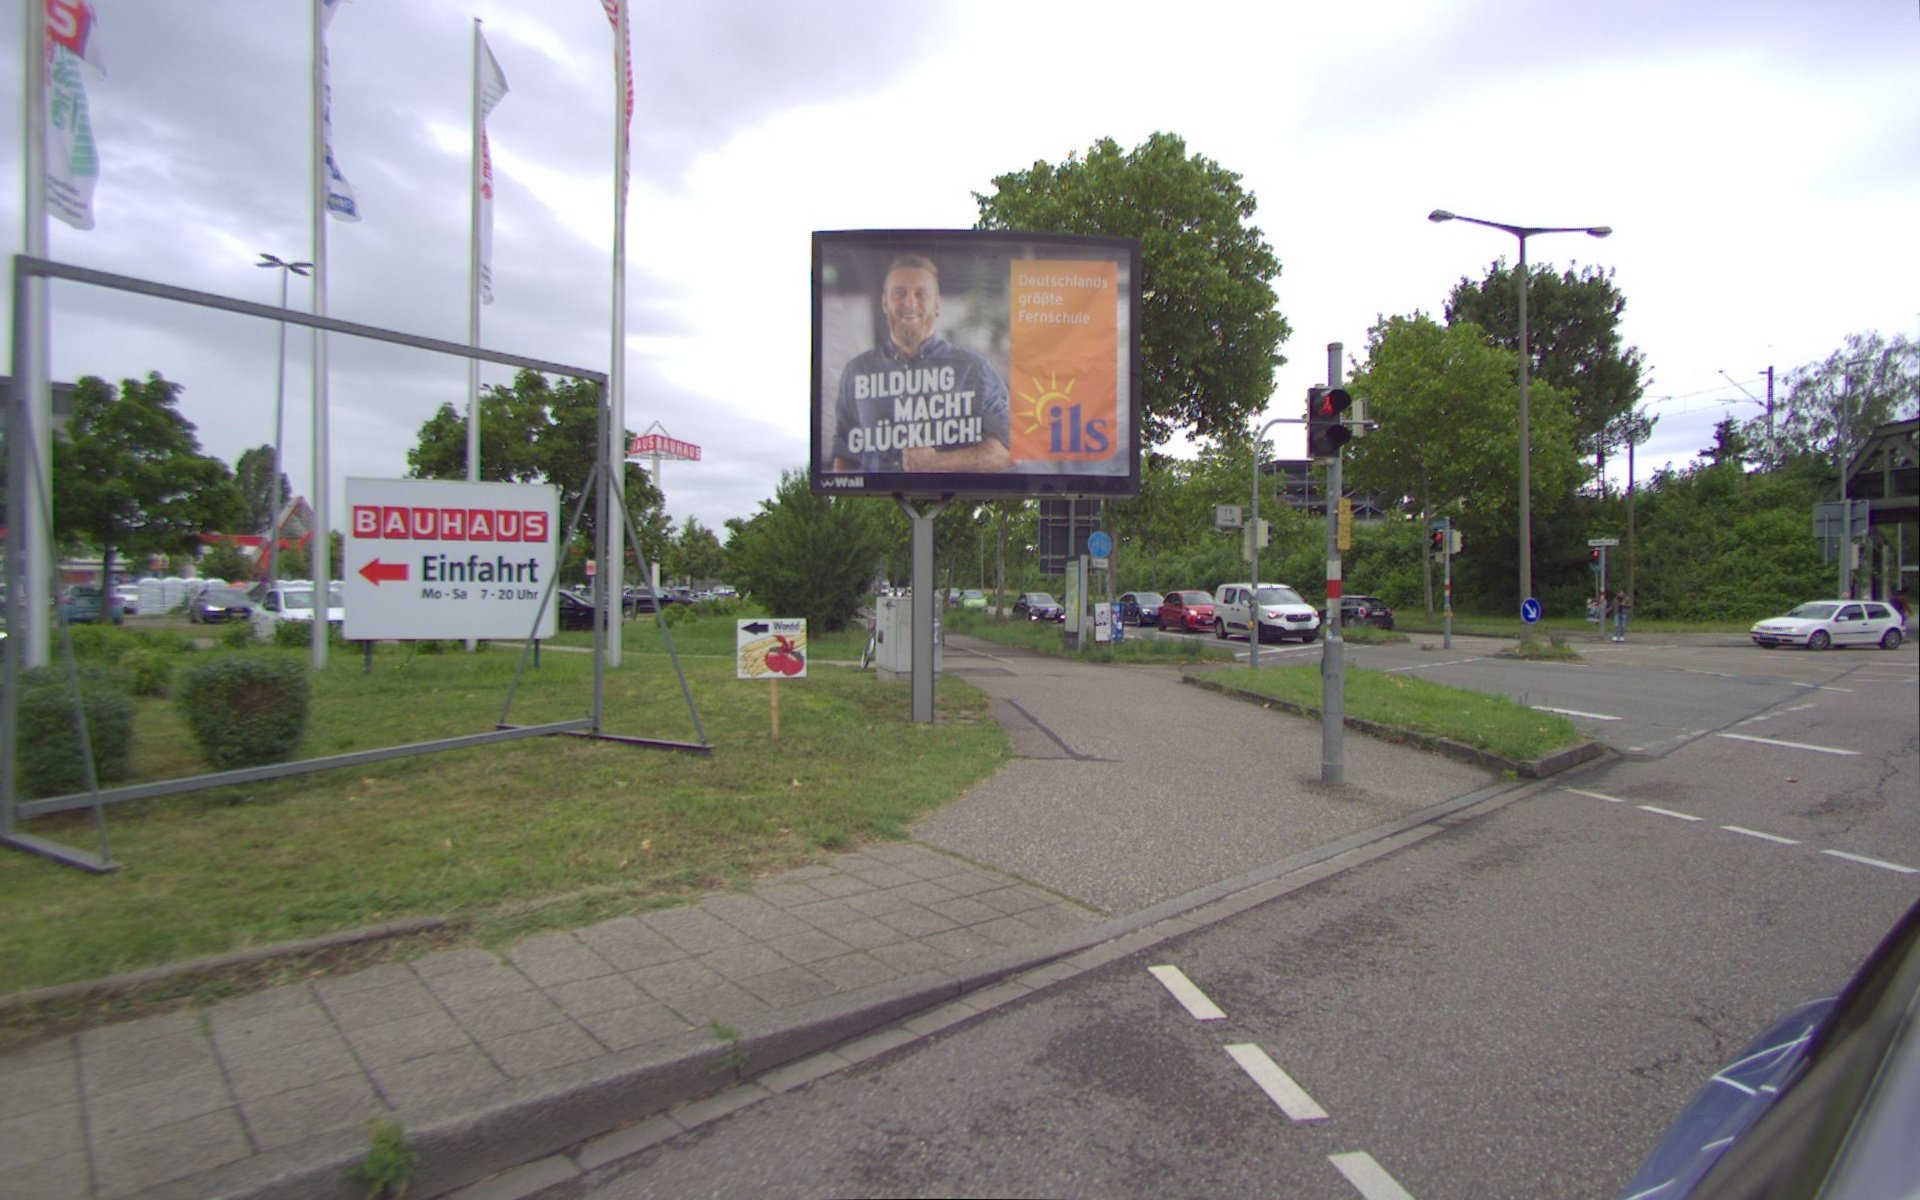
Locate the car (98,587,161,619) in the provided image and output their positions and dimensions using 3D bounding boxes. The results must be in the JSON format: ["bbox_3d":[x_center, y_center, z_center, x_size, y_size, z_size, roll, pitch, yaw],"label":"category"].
[{"bbox_3d":[-46.455,0.121,56.570,4.550,1.698,2.123,1,1,42],"label":"car"}]

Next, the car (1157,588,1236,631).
[{"bbox_3d":[8.829,0.311,38.100,1.661,1.551,3.694,0,1,-9],"label":"car"}]

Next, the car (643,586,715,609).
[{"bbox_3d":[-23.967,-0.238,86.545,5.614,1.917,2.157,0,1,-3],"label":"car"}]

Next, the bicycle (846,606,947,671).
[{"bbox_3d":[-1.154,0.684,18.374,1.777,1.132,0.487,0,0,10],"label":"bicycle"}]

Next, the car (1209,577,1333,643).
[{"bbox_3d":[9.639,0.260,31.772,1.842,1.851,4.429,-2,1,-10],"label":"car"}]

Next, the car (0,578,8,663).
[{"bbox_3d":[-19.388,0.441,18.995,4.596,1.516,1.902,-2,-1,43],"label":"car"}]

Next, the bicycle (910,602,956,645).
[{"bbox_3d":[-0.784,0.652,28.938,0.570,1.163,1.897,0,1,-26],"label":"bicycle"}]

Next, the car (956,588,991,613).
[{"bbox_3d":[0.884,0.058,69.082,1.749,1.552,4.005,-2,0,-7],"label":"car"}]

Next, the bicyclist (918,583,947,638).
[{"bbox_3d":[-0.792,0.287,28.924,0.570,1.539,0.761,0,0,-26],"label":"bicyclist"}]

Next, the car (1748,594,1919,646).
[{"bbox_3d":[25.877,0.575,29.912,3.862,1.442,1.729,-1,-1,-5],"label":"car"}]

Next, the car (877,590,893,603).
[{"bbox_3d":[-9.703,-0.485,130.881,1.749,1.552,4.005,-2,0,-7],"label":"car"}]

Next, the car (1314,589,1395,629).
[{"bbox_3d":[15.801,0.385,40.760,1.652,1.450,3.774,2,-1,-2],"label":"car"}]

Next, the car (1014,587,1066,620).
[{"bbox_3d":[3.829,0.133,49.162,1.661,1.501,4.072,0,1,-9],"label":"car"}]

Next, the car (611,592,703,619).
[{"bbox_3d":[-19.743,0.358,66.135,5.606,1.698,2.160,0,1,-12],"label":"car"}]

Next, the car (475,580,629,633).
[{"bbox_3d":[-12.777,0.204,31.891,4.149,1.516,1.828,-2,-1,-7],"label":"car"}]

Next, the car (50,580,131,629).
[{"bbox_3d":[-29.226,0.095,33.994,1.953,1.525,4.559,-1,1,-42],"label":"car"}]

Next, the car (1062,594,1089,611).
[{"bbox_3d":[9.467,0.232,83.141,1.620,1.297,3.422,-1,-1,-4],"label":"car"}]

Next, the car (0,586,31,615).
[{"bbox_3d":[-57.288,0.068,59.100,4.429,1.691,1.996,-1,-1,-42],"label":"car"}]

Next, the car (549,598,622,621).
[{"bbox_3d":[-29.261,0.711,79.001,5.671,1.698,2.135,0,1,28],"label":"car"}]

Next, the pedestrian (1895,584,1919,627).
[{"bbox_3d":[40.146,0.213,42.575,0.857,1.782,0.788,0,0,-3],"label":"pedestrian"}]

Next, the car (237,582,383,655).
[{"bbox_3d":[-15.044,0.431,23.332,4.220,1.516,1.901,-2,-1,44],"label":"car"}]

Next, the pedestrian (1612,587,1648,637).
[{"bbox_3d":[22.781,0.406,34.408,0.763,1.661,0.745,0,0,-28],"label":"pedestrian"}]

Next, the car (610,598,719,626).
[{"bbox_3d":[-16.231,0.614,55.894,5.606,1.458,2.160,0,1,-12],"label":"car"}]

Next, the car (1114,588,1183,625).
[{"bbox_3d":[8.083,0.254,43.711,1.661,1.501,4.072,0,1,-9],"label":"car"}]
